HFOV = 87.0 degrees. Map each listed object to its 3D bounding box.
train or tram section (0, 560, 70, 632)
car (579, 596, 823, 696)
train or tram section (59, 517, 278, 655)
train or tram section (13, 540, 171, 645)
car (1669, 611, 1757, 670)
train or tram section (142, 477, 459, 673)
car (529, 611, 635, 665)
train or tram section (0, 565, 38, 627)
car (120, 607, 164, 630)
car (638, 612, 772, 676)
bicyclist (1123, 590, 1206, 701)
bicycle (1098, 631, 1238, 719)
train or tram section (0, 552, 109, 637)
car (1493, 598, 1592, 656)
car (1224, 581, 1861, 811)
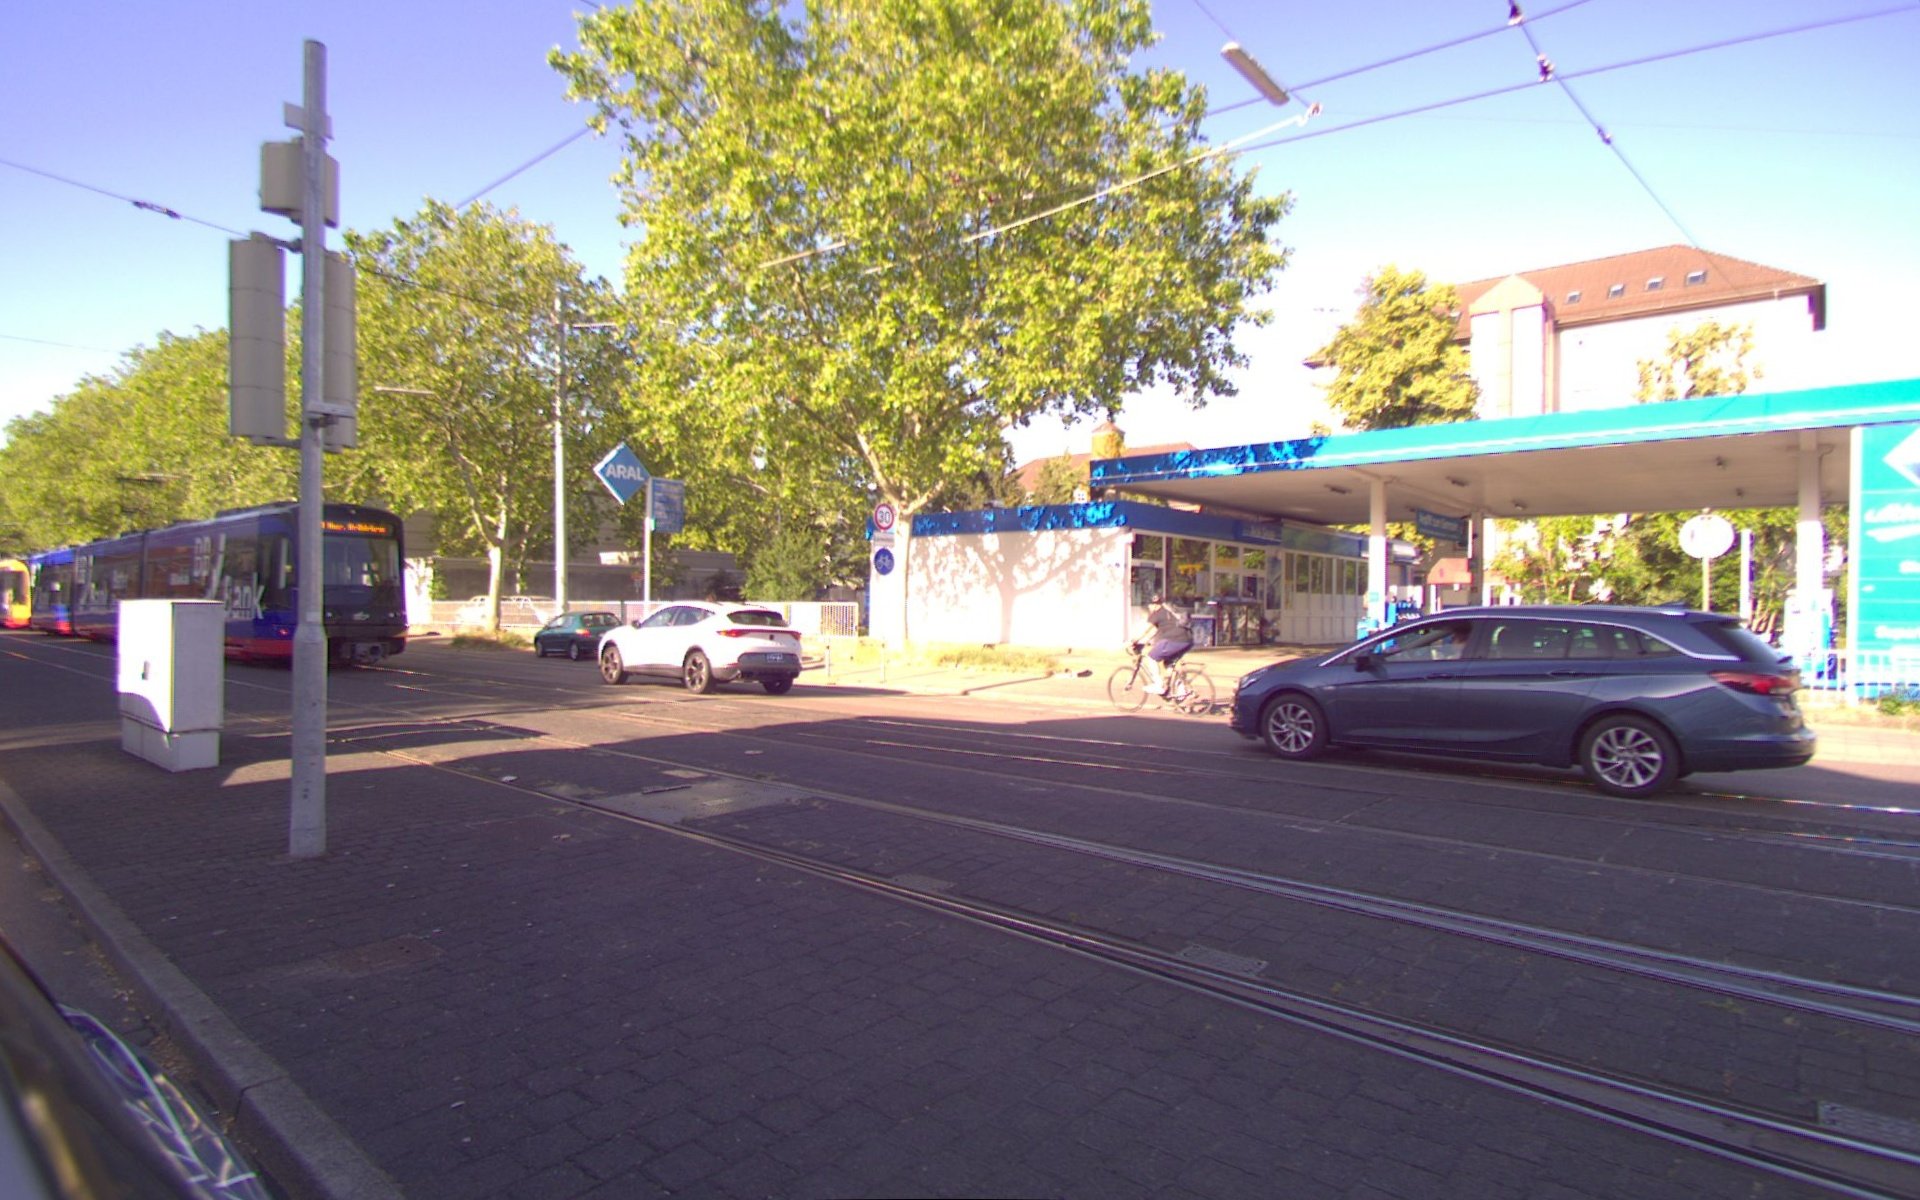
[{"bbox_3d":[-52.478,-0.155,56.248,11.945,3.640,3.023,0,-1,42],"label":"train or tram section"},{"bbox_3d":[-4.554,0.748,17.486,4.346,1.508,1.972,0,-3,42],"label":"car"},{"bbox_3d":[-25.317,-0.333,31.986,12.494,3.640,3.024,0,-1,41],"label":"train or tram section"},{"bbox_3d":[-34.597,-0.222,40.074,12.109,3.640,3.023,0,-1,41],"label":"train or tram section"},{"bbox_3d":[21.042,1.085,28.219,1.716,1.497,4.162,0,-1,40],"label":"car"},{"bbox_3d":[-16.026,-0.431,23.925,12.107,3.640,3.023,0,-1,41],"label":"train or tram section"},{"bbox_3d":[-11.456,1.094,30.575,1.755,1.435,3.313,-3,2,-45],"label":"car"},{"bbox_3d":[-61.717,-0.226,64.514,12.885,3.640,3.023,0,-1,42],"label":"train or tram section"},{"bbox_3d":[-58.092,1.306,71.853,4.000,1.563,1.857,0,-1,43],"label":"car"},{"bbox_3d":[-6.602,1.077,26.027,1.755,1.435,3.540,-3,2,-45],"label":"car"},{"bbox_3d":[3.002,0.650,14.879,0.986,1.571,0.707,0,-1,41],"label":"bicyclist"},{"bbox_3d":[3.036,1.069,14.926,2.055,1.175,0.480,0,-1,41],"label":"bicycle"},{"bbox_3d":[-43.549,-0.192,48.215,12.113,3.640,3.022,0,-1,42],"label":"train or tram section"},{"bbox_3d":[16.423,0.744,28.443,1.716,1.497,4.162,0,-1,40],"label":"car"},{"bbox_3d":[4.809,0.653,8.850,4.572,1.508,1.755,0,-1,42],"label":"car"}]
